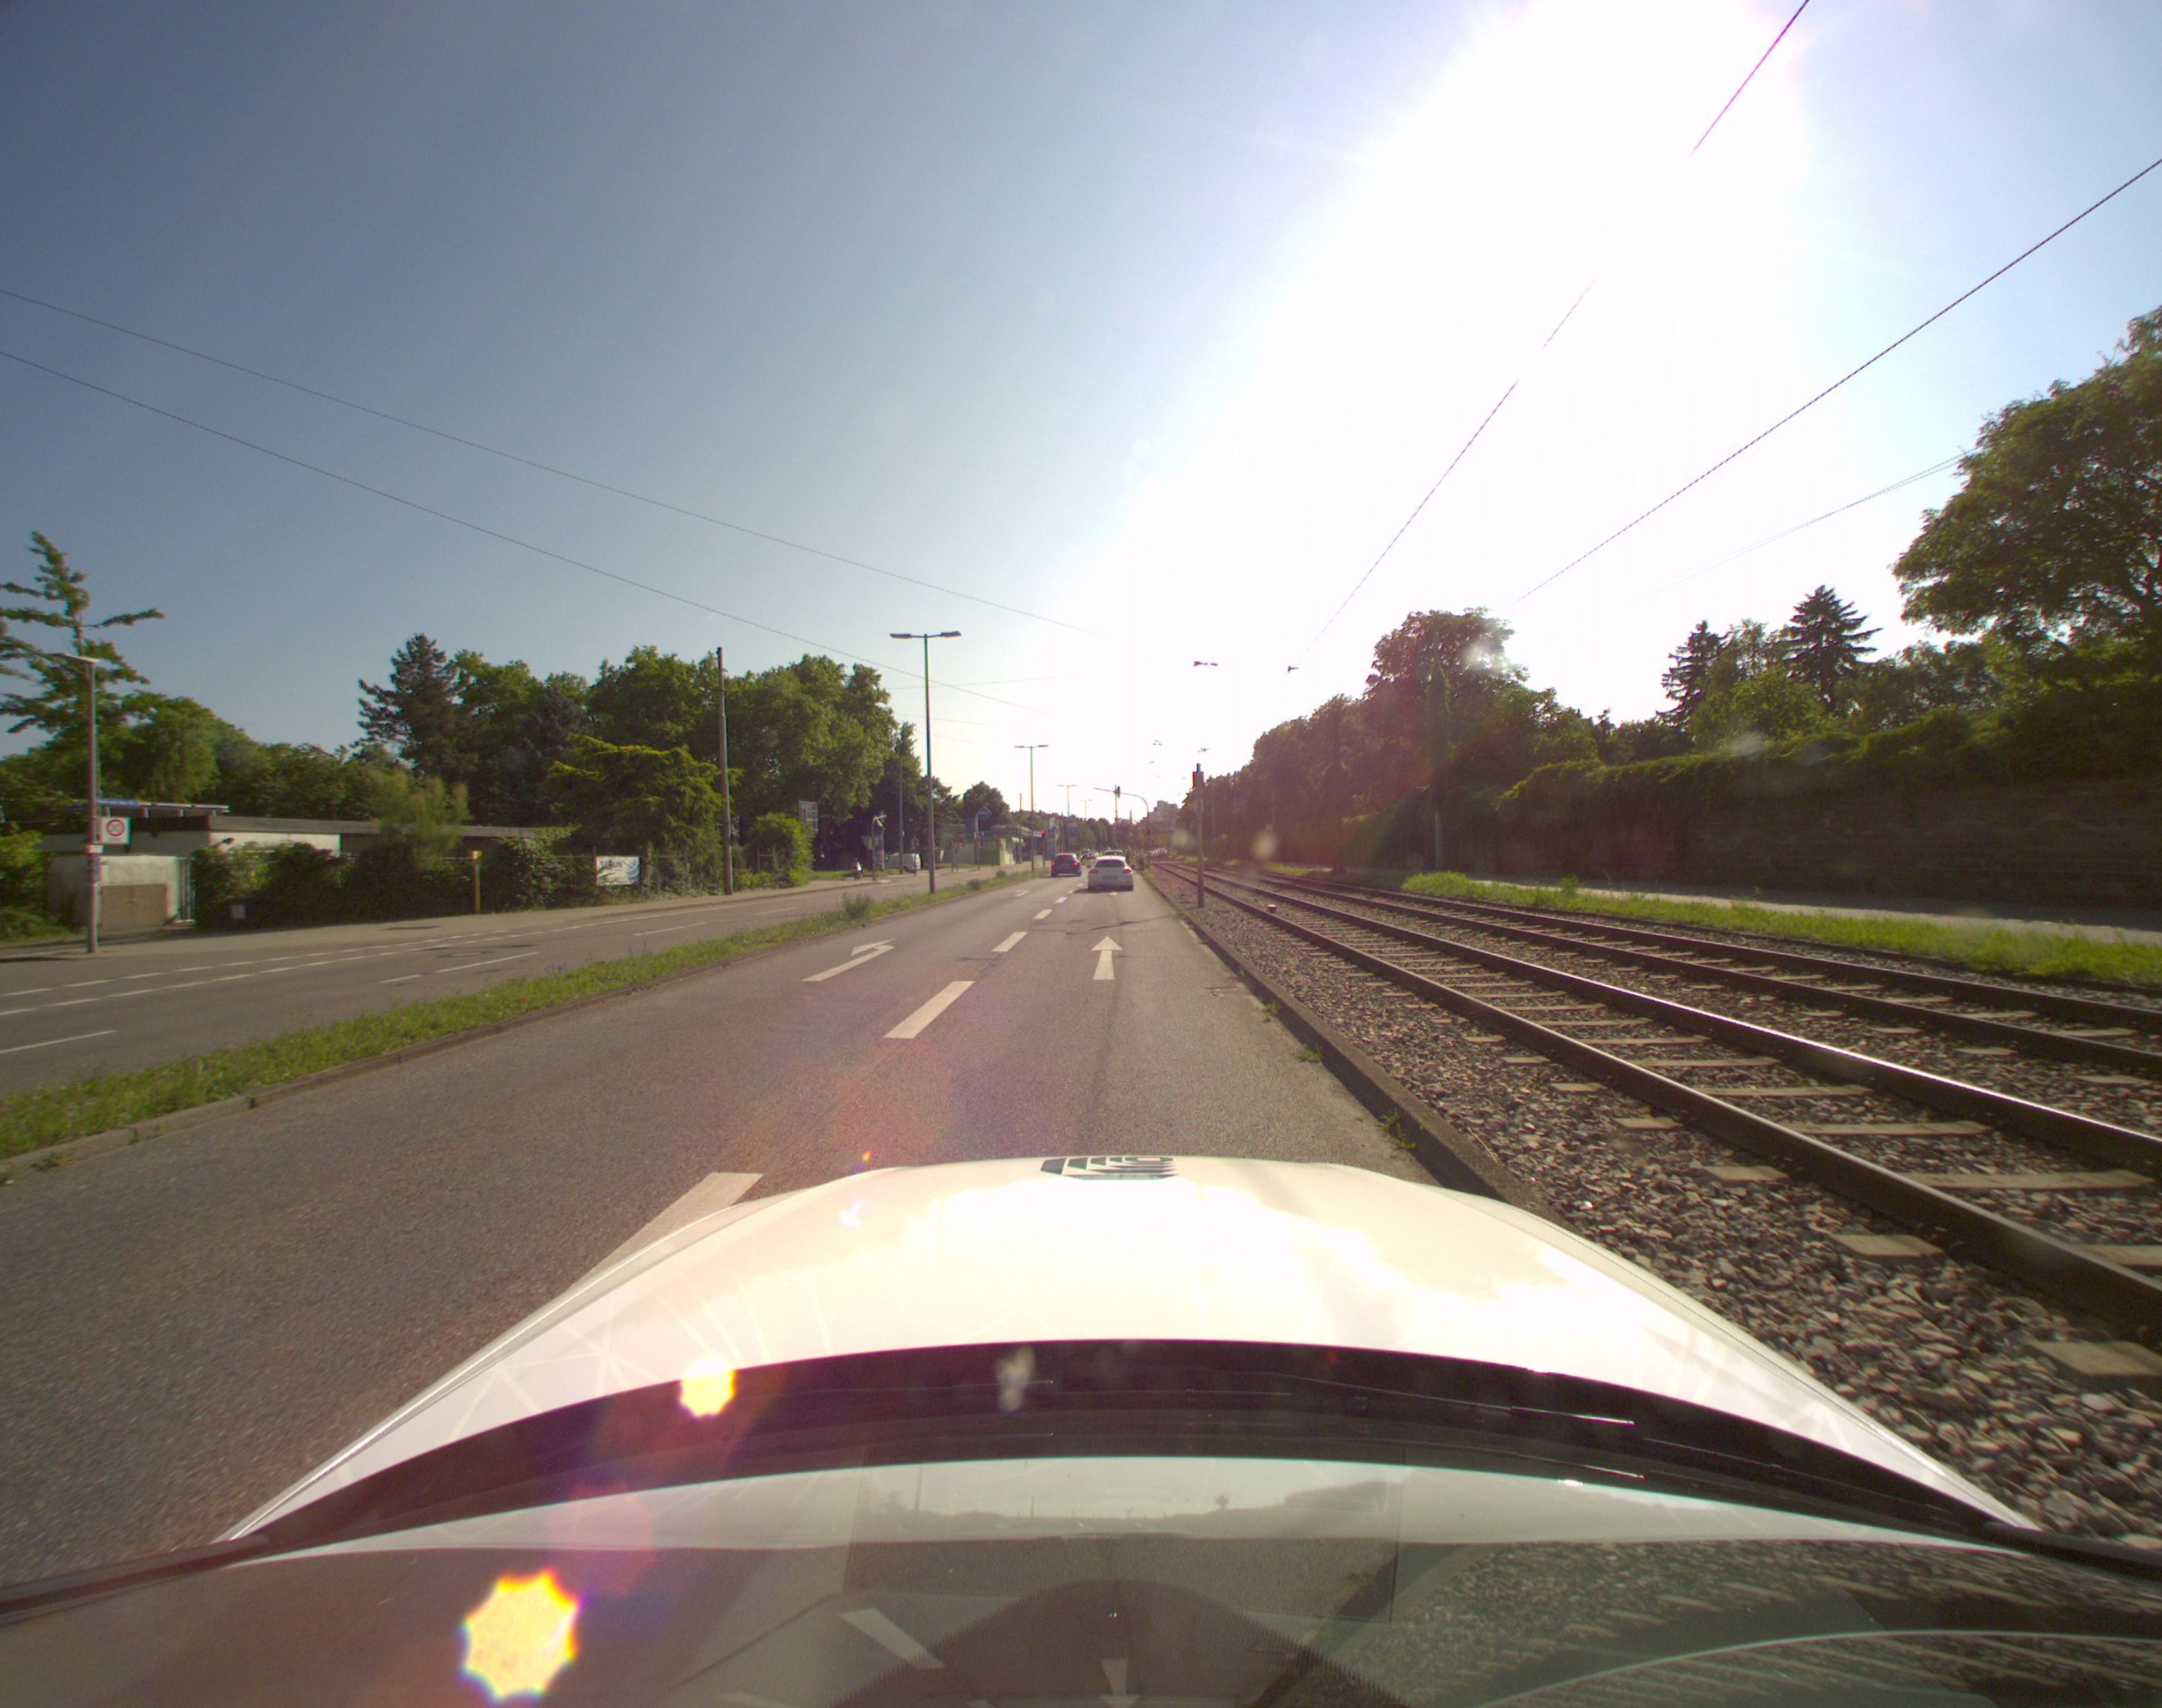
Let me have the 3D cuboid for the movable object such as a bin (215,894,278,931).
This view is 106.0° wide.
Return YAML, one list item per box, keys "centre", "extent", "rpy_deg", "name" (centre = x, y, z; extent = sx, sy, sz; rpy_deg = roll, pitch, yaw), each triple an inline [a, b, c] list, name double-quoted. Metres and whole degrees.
- centre: [-22.965, 1.598, 22.439]
  extent: [0.813, 0.931, 0.853]
  rpy_deg: [-2, 0, 2]
  name: "movable object such as a bin"

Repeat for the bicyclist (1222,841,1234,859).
- centre: [16.452, -0.481, 91.428]
  extent: [1.023, 1.993, 0.953]
  rpy_deg: [-2, 0, 27]
  name: "bicyclist"

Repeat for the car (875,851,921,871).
- centre: [-19.038, 0.716, 84.732]
  extent: [4.352, 1.963, 1.832]
  rpy_deg: [-2, 0, 18]
  name: "car"

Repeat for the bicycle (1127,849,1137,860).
- centre: [5.569, 0.033, 88.811]
  extent: [0.638, 1.154, 1.946]
  rpy_deg: [-2, 0, 18]
  name: "bicycle"

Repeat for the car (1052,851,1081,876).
- centre: [-0.907, 0.569, 52.447]
  extent: [1.755, 1.485, 4.644]
  rpy_deg: [0, 0, 0]
  name: "car"

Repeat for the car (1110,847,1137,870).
- centre: [3.037, 0.298, 58.597]
  extent: [1.719, 1.593, 3.600]
  rpy_deg: [0, 0, -1]
  name: "car"

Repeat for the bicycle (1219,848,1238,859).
- centre: [16.531, -0.027, 91.389]
  extent: [1.903, 1.115, 0.953]
  rpy_deg: [-2, 0, 27]
  name: "bicycle"

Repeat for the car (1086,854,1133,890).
- centre: [1.180, 0.683, 33.134]
  extent: [1.774, 1.356, 3.603]
  rpy_deg: [0, 0, 2]
  name: "car"

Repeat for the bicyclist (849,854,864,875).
- centre: [-16.465, 0.760, 59.789]
  extent: [0.658, 1.452, 1.053]
  rpy_deg: [-2, 0, 6]
  name: "bicyclist"

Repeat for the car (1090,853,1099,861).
- centre: [2.709, 0.574, 161.072]
  extent: [1.646, 1.395, 4.138]
  rpy_deg: [-2, 0, 3]
  name: "car"

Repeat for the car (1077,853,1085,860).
- centre: [-0.008, 0.594, 177.125]
  extent: [1.567, 1.417, 3.337]
  rpy_deg: [-2, 0, 4]
  name: "car"

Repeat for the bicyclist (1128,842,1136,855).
- centre: [5.570, -0.571, 88.894]
  extent: [0.638, 1.416, 1.017]
  rpy_deg: [-3, -1, 18]
  name: "bicyclist"

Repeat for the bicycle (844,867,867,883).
- centre: [-16.471, 1.512, 59.616]
  extent: [0.658, 1.049, 2.585]
  rpy_deg: [-2, 0, 7]
  name: "bicycle"
